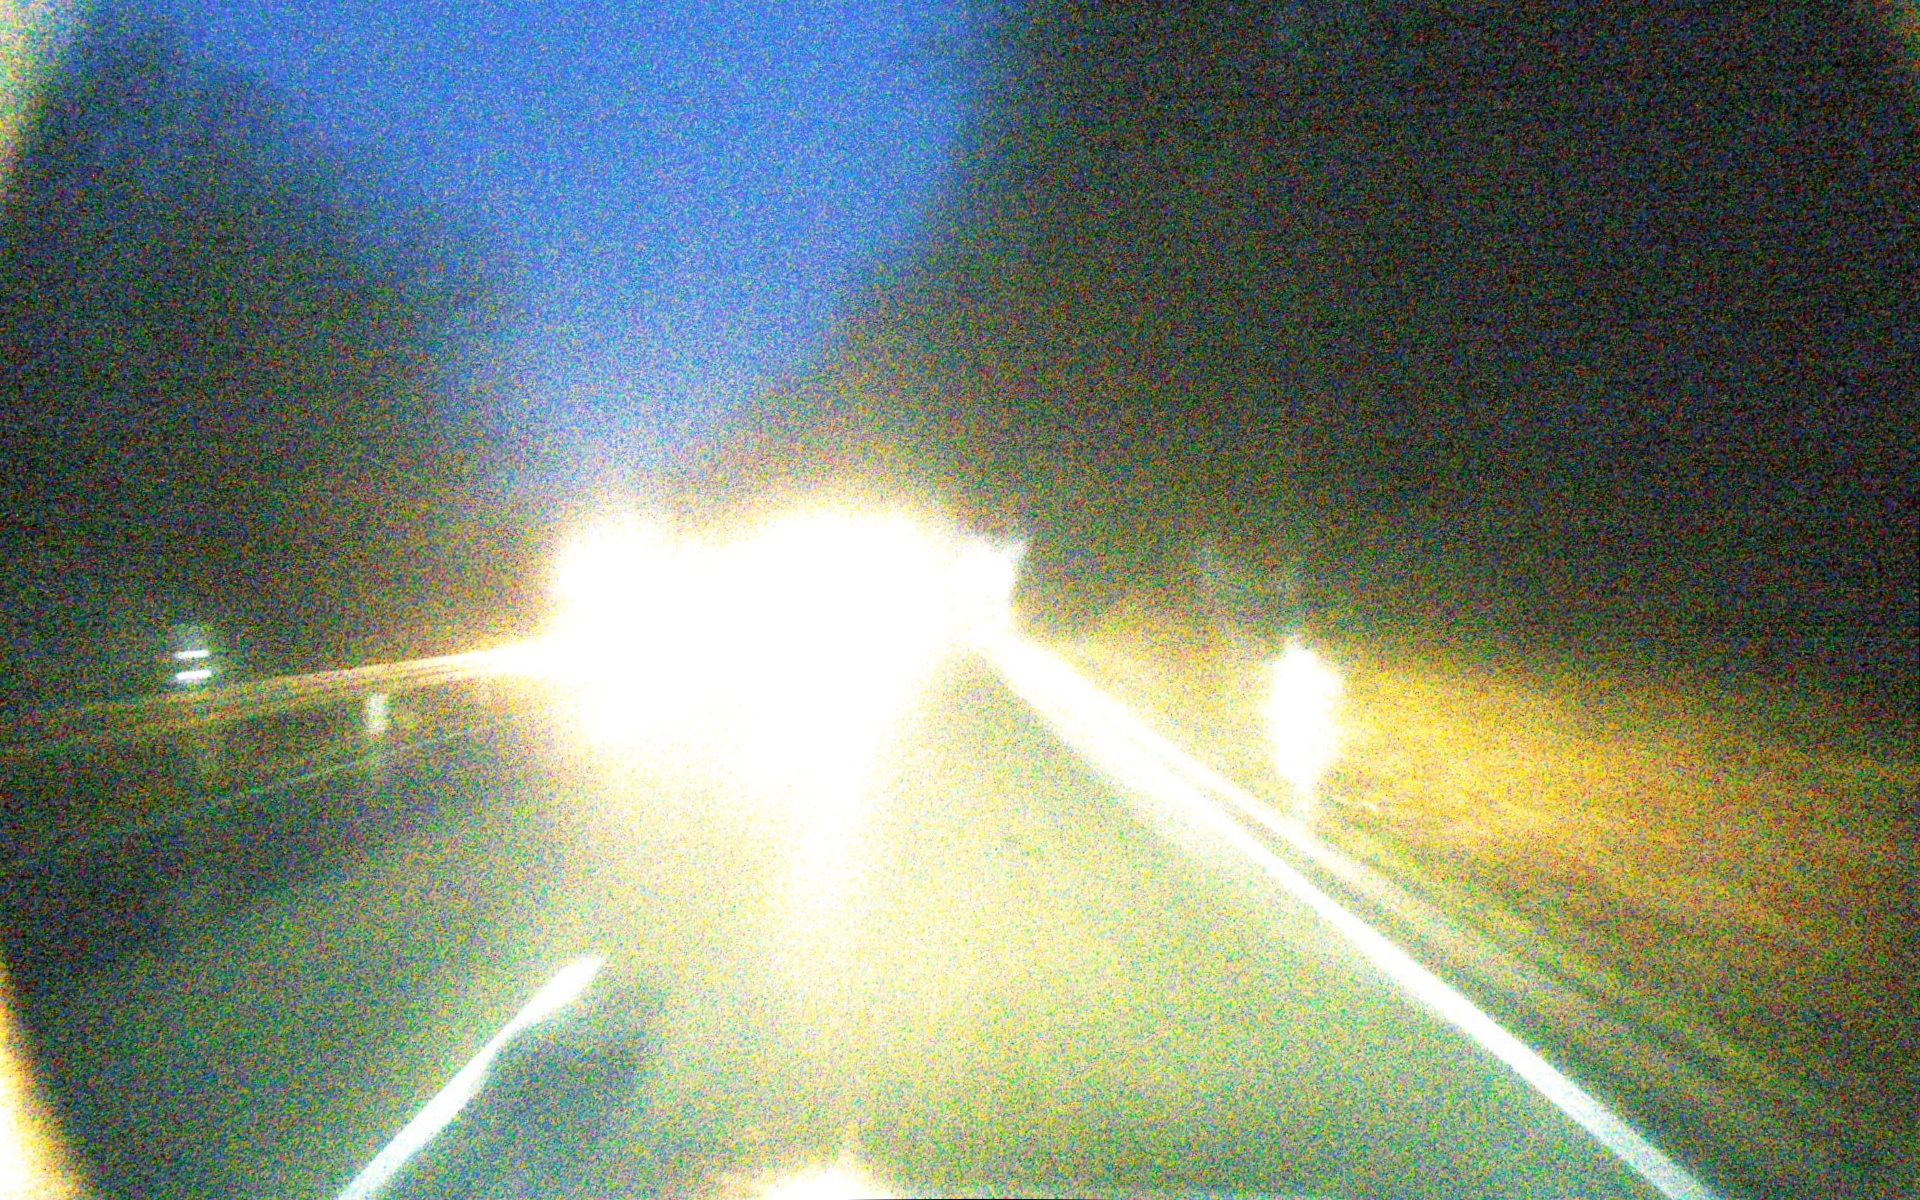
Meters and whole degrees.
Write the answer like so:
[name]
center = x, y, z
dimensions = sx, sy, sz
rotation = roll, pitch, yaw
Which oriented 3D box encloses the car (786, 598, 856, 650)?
[car]
center = -4.221, 0.723, 50.858
dimensions = 1.954, 1.482, 4.096
rotation = -1, 0, -3
